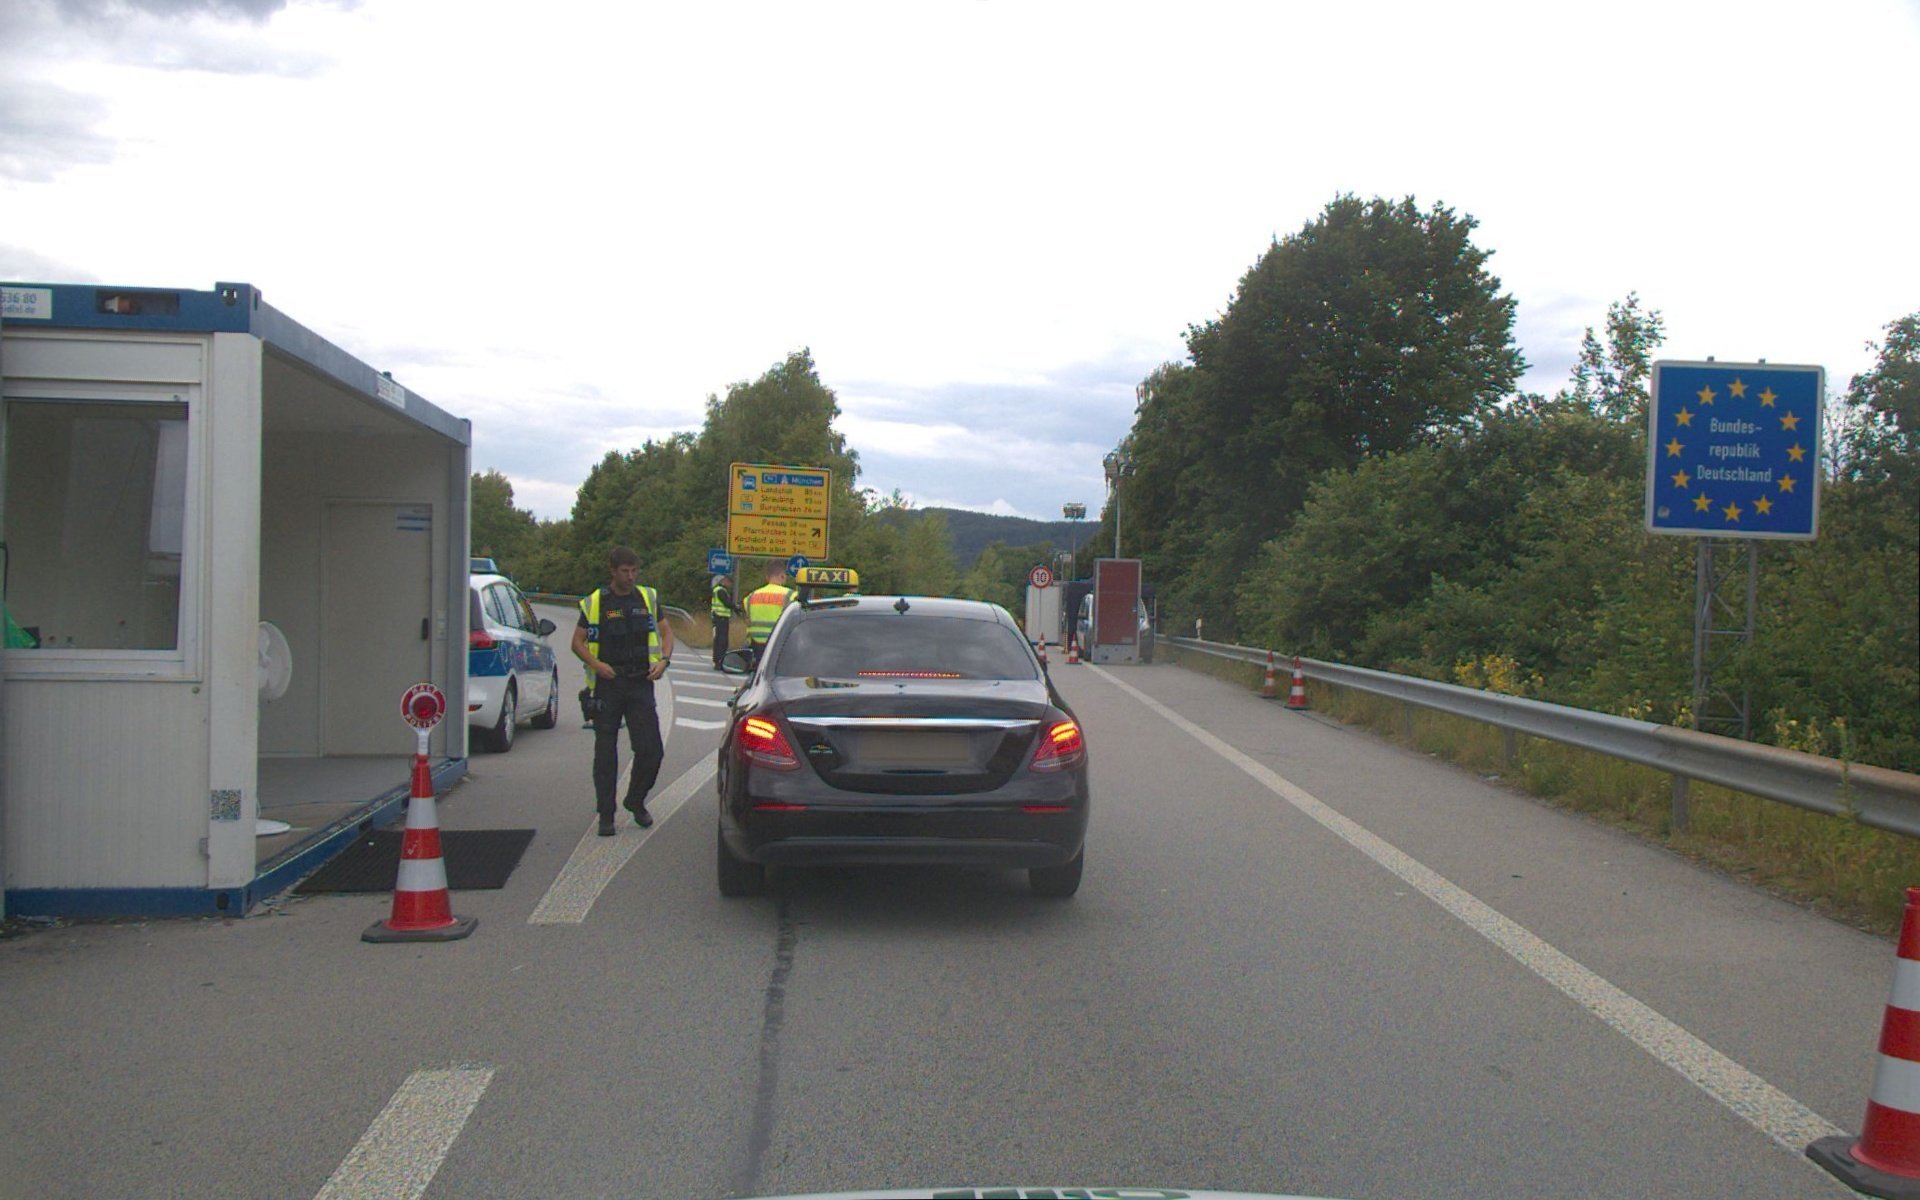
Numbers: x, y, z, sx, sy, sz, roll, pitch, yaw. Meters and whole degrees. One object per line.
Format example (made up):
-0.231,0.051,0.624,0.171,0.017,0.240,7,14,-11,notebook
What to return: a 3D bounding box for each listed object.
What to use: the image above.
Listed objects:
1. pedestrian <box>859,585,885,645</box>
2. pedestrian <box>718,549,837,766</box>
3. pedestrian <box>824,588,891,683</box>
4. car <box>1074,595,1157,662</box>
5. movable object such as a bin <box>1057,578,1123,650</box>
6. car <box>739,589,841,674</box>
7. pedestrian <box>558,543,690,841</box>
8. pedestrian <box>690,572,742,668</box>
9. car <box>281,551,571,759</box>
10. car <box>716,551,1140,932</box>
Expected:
-2.961,0.501,55.541,0.650,1.995,0.760,0,0,15,pedestrian
-1.607,0.491,14.693,0.795,1.862,0.810,0,0,15,pedestrian
-1.893,0.652,30.595,0.900,1.727,0.903,1,-1,-33,pedestrian
4.390,0.769,47.353,1.877,1.707,5.083,3,0,0,car
4.367,0.448,56.197,1.952,2.320,4.168,1,0,1,movable object such as a bin
-3.240,0.564,32.176,1.819,1.524,4.253,1,0,-4,car
-2.063,0.541,10.181,0.746,1.748,0.815,0,0,-12,pedestrian
-4.676,0.387,31.710,0.893,1.800,0.911,1,0,-4,pedestrian
-5.069,0.475,16.260,1.832,1.774,4.004,1,0,-5,car
-0.341,0.606,9.322,1.819,1.623,4.370,1,0,-6,car
